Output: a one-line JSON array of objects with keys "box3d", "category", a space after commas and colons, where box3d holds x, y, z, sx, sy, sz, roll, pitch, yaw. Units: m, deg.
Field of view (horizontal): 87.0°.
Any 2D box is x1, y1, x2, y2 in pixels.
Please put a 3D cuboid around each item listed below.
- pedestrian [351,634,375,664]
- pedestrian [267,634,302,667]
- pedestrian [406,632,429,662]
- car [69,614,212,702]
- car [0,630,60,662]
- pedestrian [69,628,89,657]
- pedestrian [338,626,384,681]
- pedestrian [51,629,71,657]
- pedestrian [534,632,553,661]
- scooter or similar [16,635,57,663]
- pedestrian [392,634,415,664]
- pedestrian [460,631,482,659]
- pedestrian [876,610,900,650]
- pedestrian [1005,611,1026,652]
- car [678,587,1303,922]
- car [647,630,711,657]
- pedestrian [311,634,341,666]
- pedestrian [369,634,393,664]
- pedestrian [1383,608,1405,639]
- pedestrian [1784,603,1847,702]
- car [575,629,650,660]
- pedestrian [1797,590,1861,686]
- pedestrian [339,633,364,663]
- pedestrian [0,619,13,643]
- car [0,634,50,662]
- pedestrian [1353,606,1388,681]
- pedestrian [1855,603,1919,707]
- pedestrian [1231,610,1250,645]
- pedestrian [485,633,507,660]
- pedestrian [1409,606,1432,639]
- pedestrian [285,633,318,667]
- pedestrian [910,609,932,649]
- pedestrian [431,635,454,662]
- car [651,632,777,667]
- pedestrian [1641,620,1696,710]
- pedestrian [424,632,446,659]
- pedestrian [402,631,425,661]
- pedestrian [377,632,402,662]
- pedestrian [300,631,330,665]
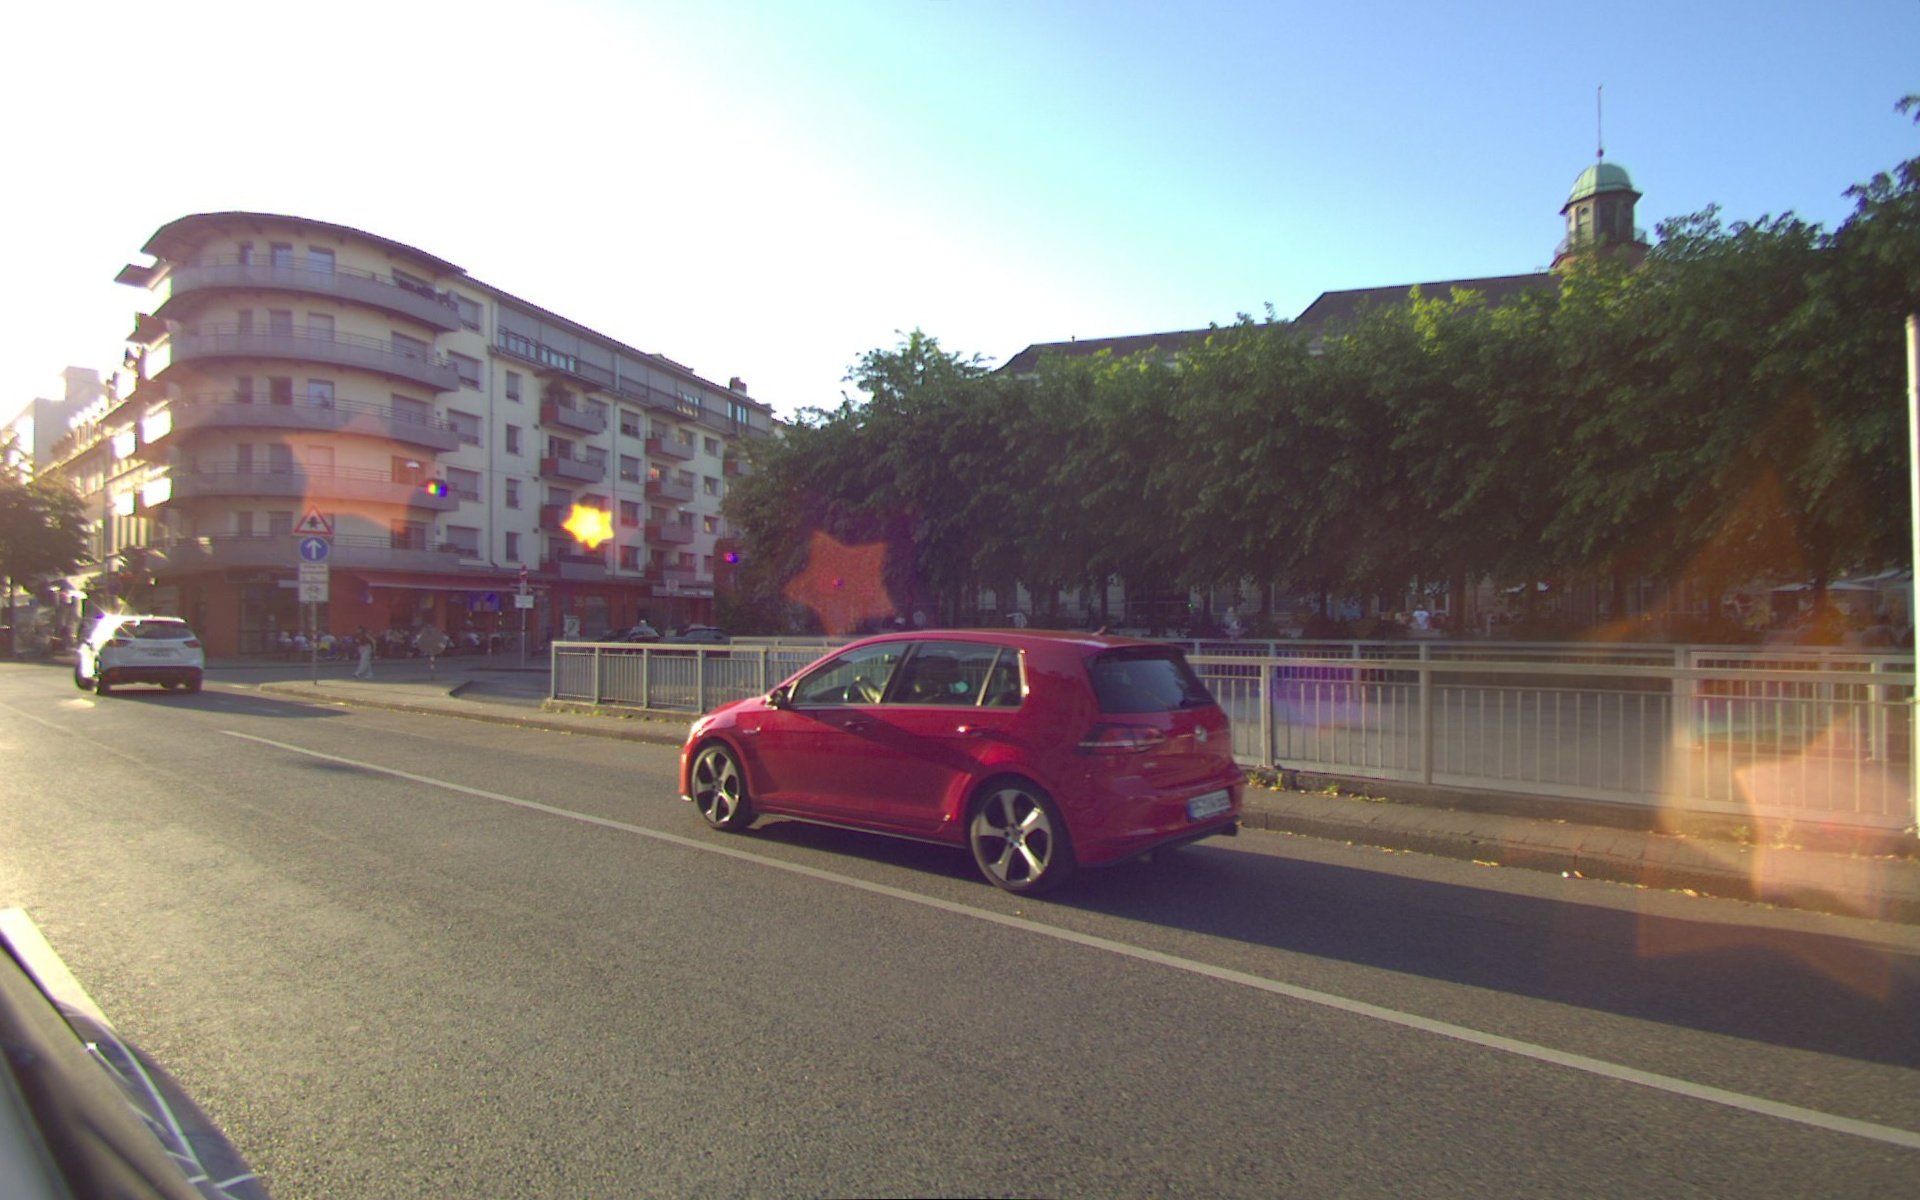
[{"box3d": [-25.242, 2.059, 42.779, 0.699, 1.256, 0.615, 0, -1, 31], "category": "pedestrian"}, {"box3d": [-26.659, 1.977, 39.922, 0.765, 1.251, 0.891, 0, -1, 32], "category": "pedestrian"}, {"box3d": [-24.130, 2.094, 45.045, 0.699, 1.297, 0.615, 0, -1, 31], "category": "pedestrian"}, {"box3d": [-18.447, 1.216, 22.711, 4.467, 1.774, 1.971, 0, -2, 44], "category": "car"}, {"box3d": [-49.337, 2.386, 52.264, 1.883, 1.548, 4.031, -2, -1, 40], "category": "car"}, {"box3d": [-50.931, 2.451, 58.526, 0.875, 1.620, 0.764, 0, 0, 41], "category": "pedestrian"}, {"box3d": [-17.536, 1.569, 29.639, 0.760, 1.579, 0.896, -1, -2, 15], "category": "pedestrian"}, {"box3d": [-51.417, 2.444, 57.874, 0.875, 1.539, 0.726, 0, 0, 41], "category": "pedestrian"}, {"box3d": [-21.503, 2.406, 52.270, 0.616, 1.480, 0.698, 1, -1, 14], "category": "pedestrian"}, {"box3d": [-43.378, 2.303, 47.546, 0.525, 1.235, 1.385, -2, -1, 37], "category": "scooter or similar"}, {"box3d": [-24.347, 2.134, 44.274, 0.699, 1.297, 0.615, 0, -1, 31], "category": "pedestrian"}, {"box3d": [-23.920, 2.198, 49.504, 0.696, 1.297, 0.618, 1, -1, 19], "category": "pedestrian"}, {"box3d": [-2.963, 1.227, 41.777, 0.763, 1.598, 0.686, 1, -1, 17], "category": "pedestrian"}, {"box3d": [2.207, 1.255, 40.000, 0.648, 1.598, 0.787, 1, -1, 15], "category": "pedestrian"}, {"box3d": [0.014, 0.810, 6.689, 3.948, 1.564, 1.674, -2, -4, 40], "category": "car"}, {"box3d": [-17.033, 2.621, 61.524, 1.953, 1.608, 3.977, -1, -2, 17], "category": "car"}, {"box3d": [-25.600, 1.998, 40.877, 0.827, 1.256, 0.715, 0, -1, 34], "category": "pedestrian"}, {"box3d": [-24.867, 2.103, 43.463, 0.699, 1.256, 0.615, 0, -1, 31], "category": "pedestrian"}, {"box3d": [15.451, 0.827, 36.053, 0.605, 1.067, 0.712, -1, -1, 15], "category": "pedestrian"}, {"box3d": [14.265, 0.861, 16.882, 0.668, 1.607, 0.570, 0, -1, -30], "category": "pedestrian"}, {"box3d": [-19.011, 2.436, 55.593, 1.953, 1.608, 3.977, -1, -2, 17], "category": "car"}, {"box3d": [14.928, 0.647, 17.379, 0.779, 1.607, 0.570, 0, -1, -30], "category": "pedestrian"}, {"box3d": [-26.006, 2.041, 43.246, 0.699, 1.256, 0.615, 0, -1, 31], "category": "pedestrian"}, {"box3d": [-69.682, 2.235, 73.805, 0.875, 1.734, 0.764, 0, 0, 41], "category": "pedestrian"}, {"box3d": [-51.433, 2.581, 53.637, 1.819, 1.418, 4.526, -2, -1, 39], "category": "car"}, {"box3d": [8.996, 0.945, 22.203, 0.672, 1.607, 0.698, -1, -1, 22], "category": "pedestrian"}, {"box3d": [14.682, 0.854, 16.008, 0.668, 1.607, 0.570, 0, -1, -30], "category": "pedestrian"}, {"box3d": [10.435, 1.031, 37.670, 0.648, 1.289, 0.787, 1, -1, 15], "category": "pedestrian"}, {"box3d": [-22.664, 2.247, 49.435, 0.696, 1.297, 0.618, 1, -1, 19], "category": "pedestrian"}, {"box3d": [16.224, 0.795, 35.684, 0.605, 1.128, 0.712, -1, -1, 15], "category": "pedestrian"}, {"box3d": [-25.871, 1.964, 39.755, 0.746, 1.283, 0.820, 0, -1, 32], "category": "pedestrian"}, {"box3d": [-1.586, 1.188, 41.440, 0.696, 1.598, 0.618, 1, -1, 17], "category": "pedestrian"}, {"box3d": [-23.719, 2.209, 46.372, 0.698, 1.234, 0.616, 0, -1, 27], "category": "pedestrian"}, {"box3d": [-9.744, 1.964, 40.296, 4.478, 1.328, 1.994, -1, -2, 10], "category": "car"}, {"box3d": [13.101, 1.181, 18.716, 0.668, 1.607, 0.570, 0, -1, -30], "category": "pedestrian"}, {"box3d": [-24.667, 2.133, 47.559, 0.698, 1.234, 0.616, 0, -1, 27], "category": "pedestrian"}, {"box3d": [-24.786, 2.082, 45.917, 0.699, 1.343, 0.615, 0, -1, 31], "category": "pedestrian"}, {"box3d": [-25.305, 2.098, 44.891, 0.699, 1.297, 0.650, 0, -1, 31], "category": "pedestrian"}, {"box3d": [-26.491, 1.956, 41.542, 0.827, 1.358, 0.740, 0, -1, 34], "category": "pedestrian"}]
